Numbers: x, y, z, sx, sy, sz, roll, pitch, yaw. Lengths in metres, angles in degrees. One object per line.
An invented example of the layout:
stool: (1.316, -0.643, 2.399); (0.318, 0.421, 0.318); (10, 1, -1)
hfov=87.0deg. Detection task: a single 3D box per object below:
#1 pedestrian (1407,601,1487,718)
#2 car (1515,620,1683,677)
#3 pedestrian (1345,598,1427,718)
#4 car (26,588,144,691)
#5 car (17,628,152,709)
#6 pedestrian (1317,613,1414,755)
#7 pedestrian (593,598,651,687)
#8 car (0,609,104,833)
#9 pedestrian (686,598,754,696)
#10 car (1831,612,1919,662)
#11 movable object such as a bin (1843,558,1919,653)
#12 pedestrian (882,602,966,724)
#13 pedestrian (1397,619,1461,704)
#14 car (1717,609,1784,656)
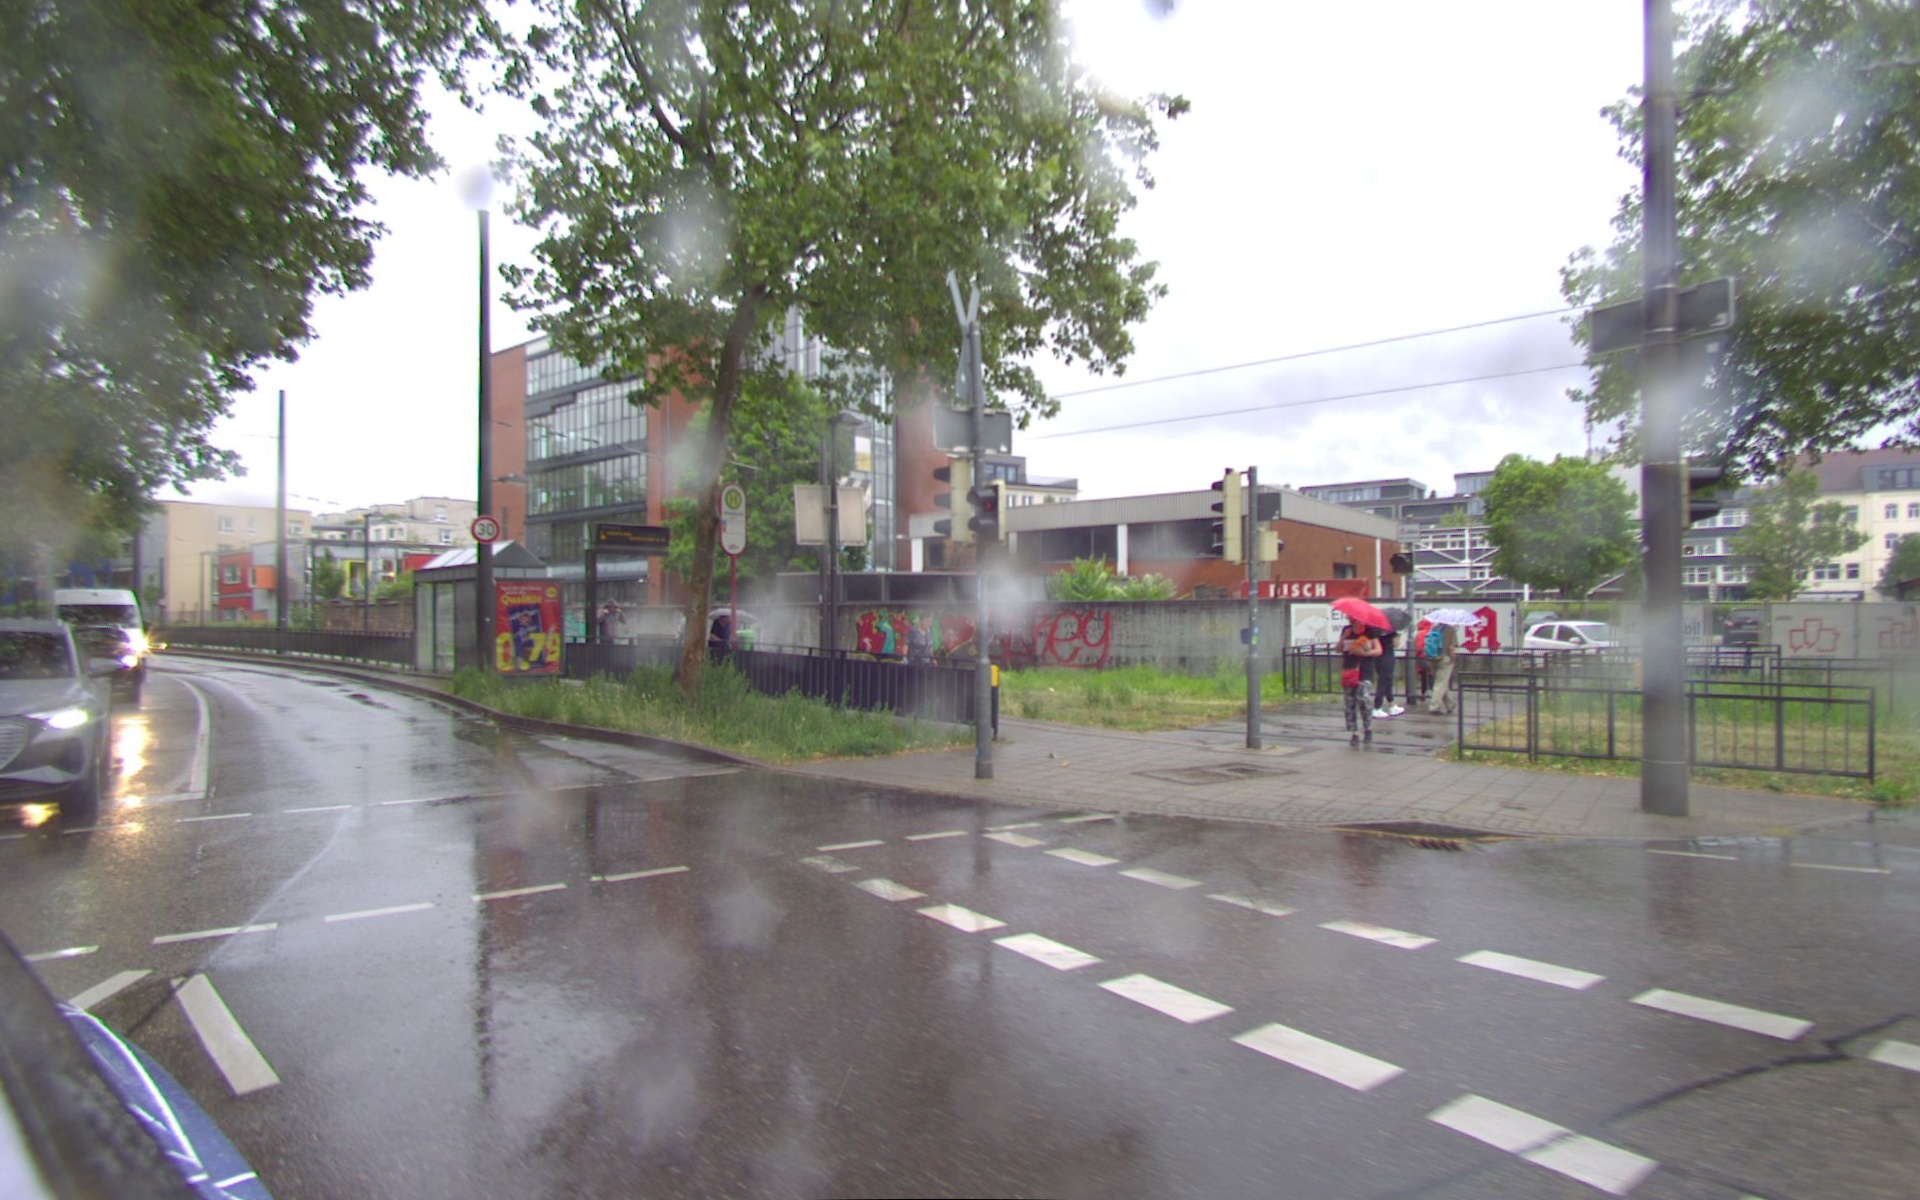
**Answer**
pedestrian: (8.125, 0.977, 16.888); (0.956, 1.876, 0.837); (-3, -2, 42)
car: (16.762, 1.233, 26.790); (1.815, 1.331, 3.671); (0, 0, -7)
pedestrian: (6.904, 0.919, 16.411); (0.956, 1.876, 0.837); (-3, -2, 42)
car: (-24.560, 1.030, 28.634); (2.248, 2.581, 6.524); (0, -1, -39)
car: (-17.857, 1.331, 20.587); (1.827, 1.455, 4.002); (1, -2, -45)
pedestrian: (5.101, 1.027, 12.736); (0.860, 1.701, 0.837); (-3, -2, 42)
pedestrian: (-7.174, 0.897, 21.495); (0.848, 1.846, 0.849); (-3, -3, 41)
car: (-8.616, 0.956, 8.752); (1.782, 1.633, 4.143); (0, -2, -41)
pedestrian: (-4.325, 0.839, 18.254); (0.848, 1.701, 0.849); (-3, -2, 41)
car: (26.949, 1.020, 28.190); (1.813, 1.331, 3.675); (0, 0, -13)
movable object such as a bin: (31.214, 0.150, 30.376); (2.730, 2.953, 6.793); (0, -1, -10)
pedestrian: (-0.523, 0.890, 14.657); (0.848, 1.701, 0.849); (-3, -2, 41)
pedestrian: (8.747, 1.132, 18.868); (0.829, 1.516, 0.837); (-3, -2, 42)
car: (33.308, 1.325, 42.598); (1.999, 1.805, 3.946); (-2, -1, 40)
